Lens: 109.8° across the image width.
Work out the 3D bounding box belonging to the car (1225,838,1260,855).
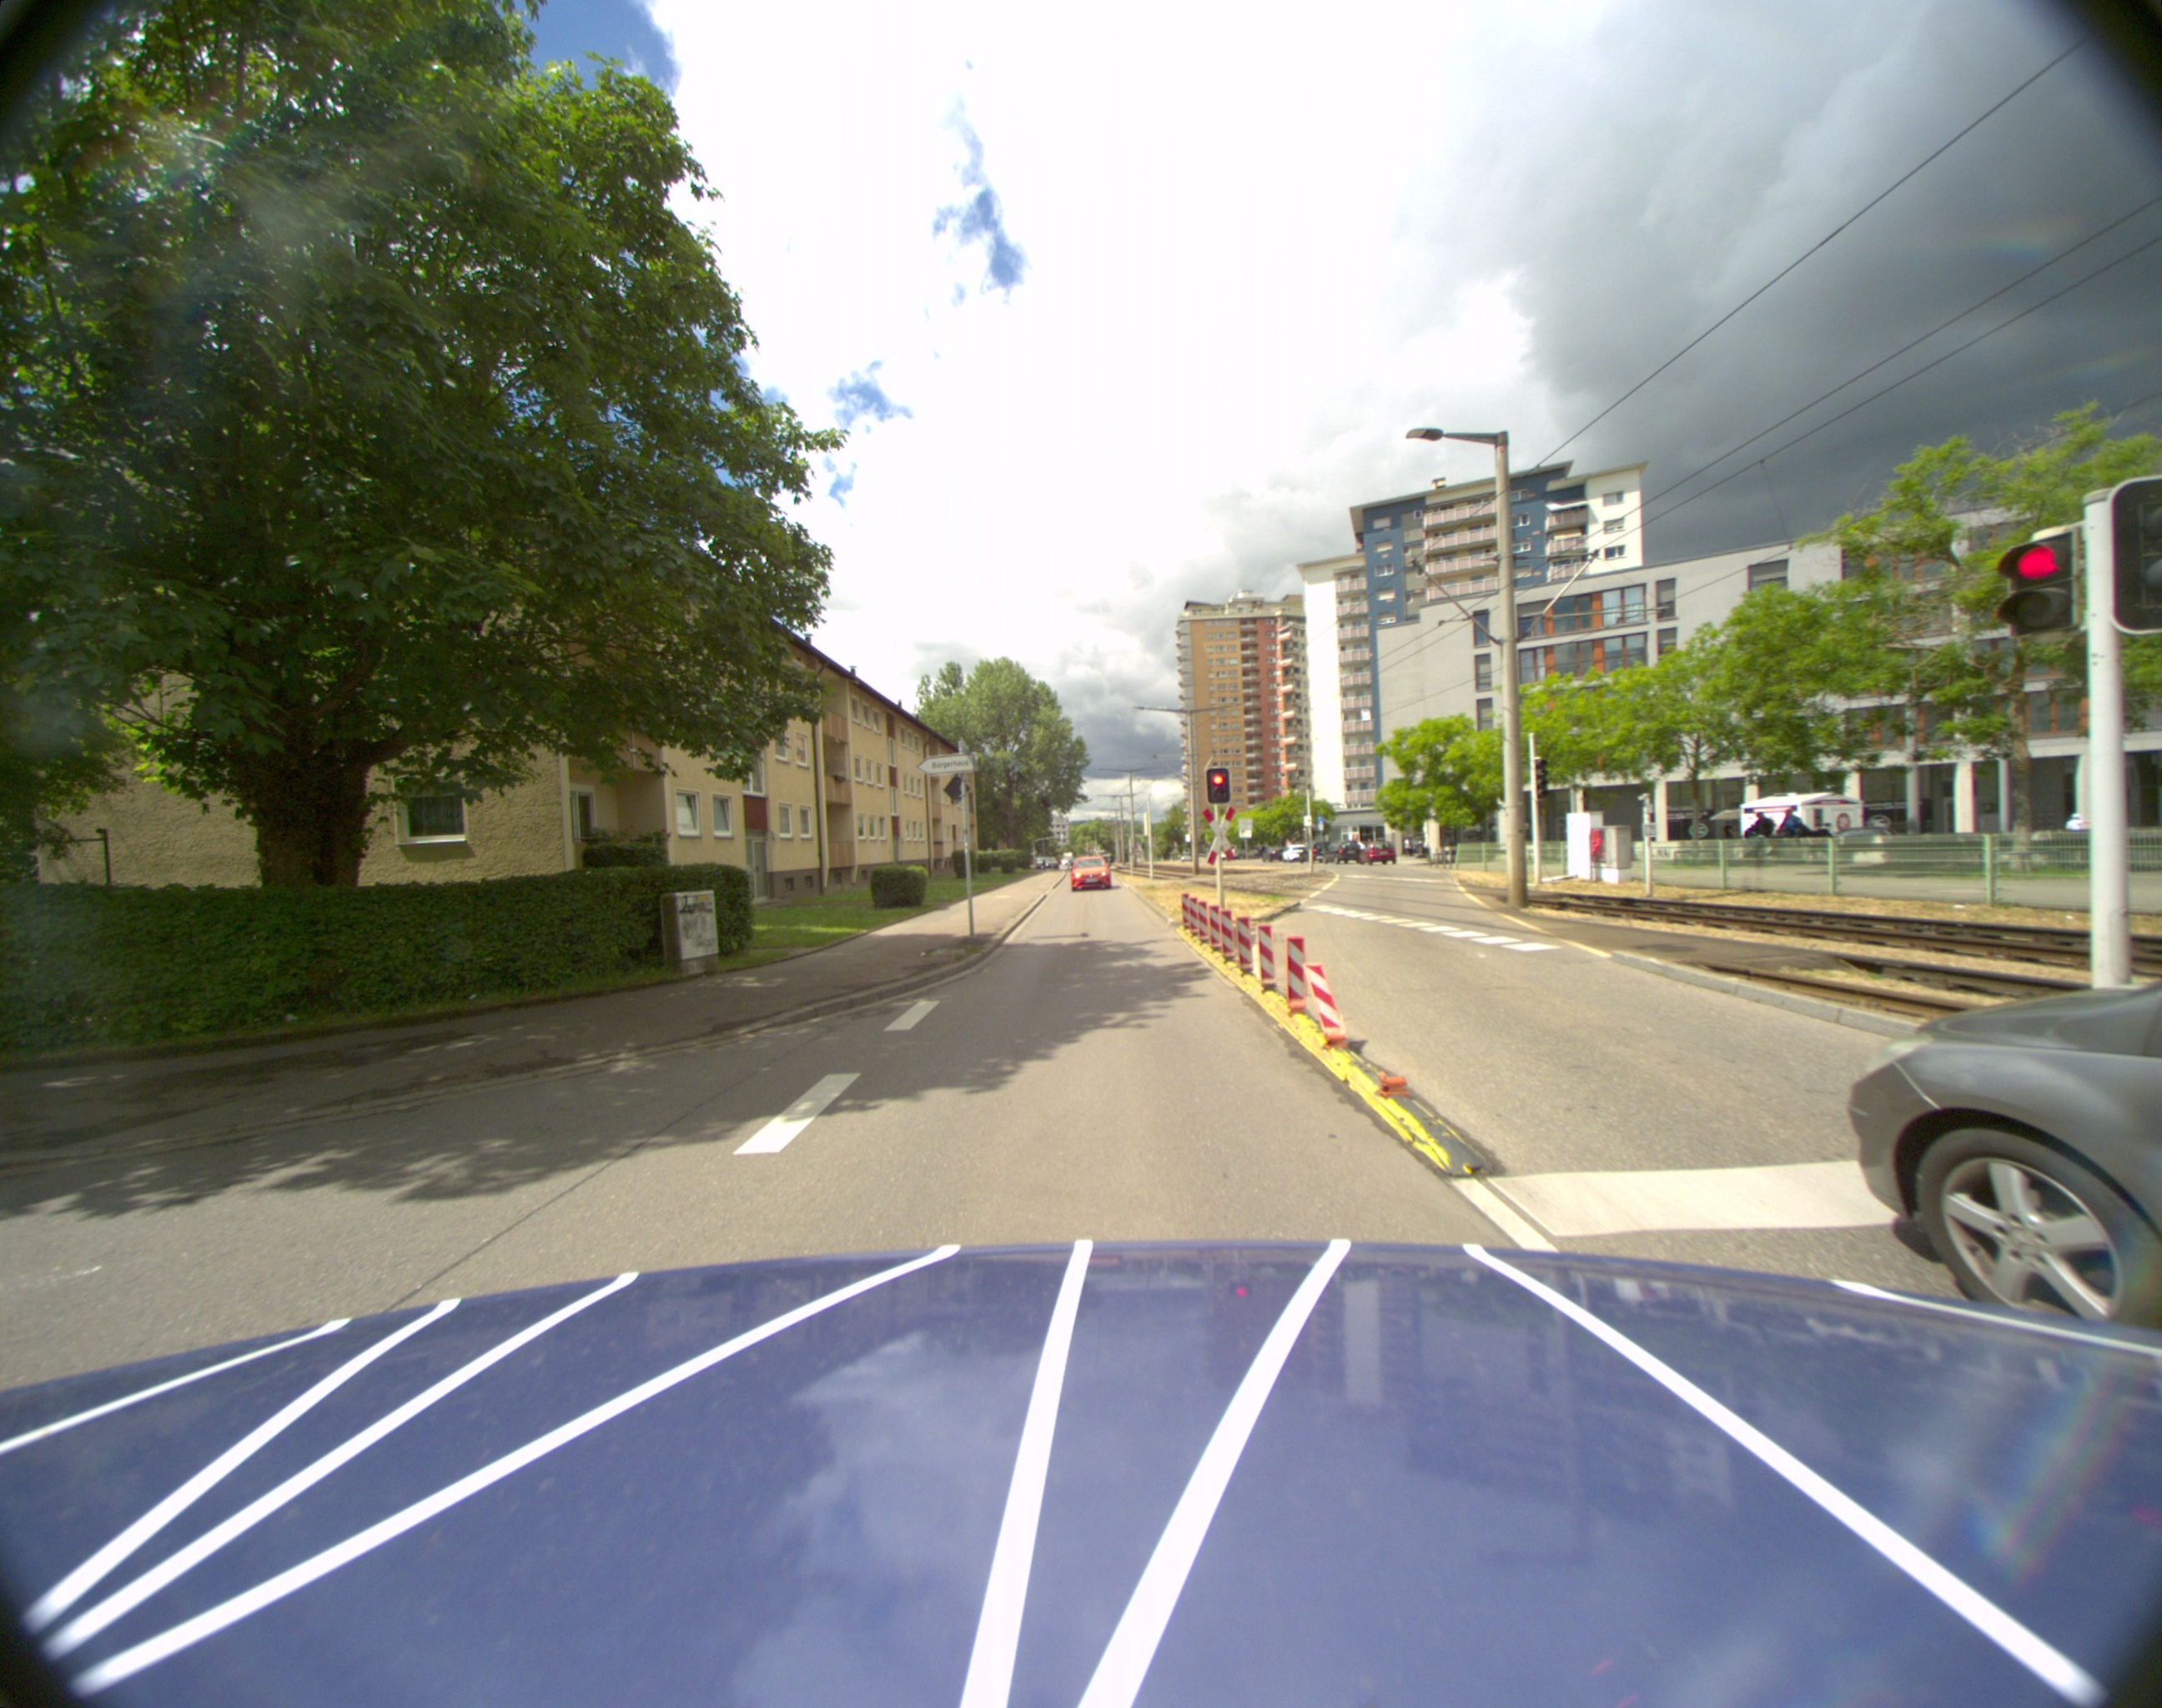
[{"bbox_3d":[20.570,-0.951,96.677,4.504,1.914,1.877,-4,1,-39],"label":"car"}]

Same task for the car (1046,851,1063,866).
[{"bbox_3d":[-3.142,0.552,90.613,1.843,1.648,3.789,-4,0,1],"label":"car"}]

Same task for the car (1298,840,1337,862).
[{"bbox_3d":[18.420,-0.259,59.351,1.781,1.531,3.803,-4,0,1],"label":"car"}]

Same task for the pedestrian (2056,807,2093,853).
[{"bbox_3d":[42.219,-1.031,32.305,0.748,1.895,0.539,-3,1,29],"label":"pedestrian"}]

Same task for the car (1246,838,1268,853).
[{"bbox_3d":[21.323,-1.049,92.279,1.781,1.650,3.803,-4,0,1],"label":"car"}]

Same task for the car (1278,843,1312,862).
[{"bbox_3d":[18.433,-0.139,65.507,1.781,1.531,3.803,-4,0,1],"label":"car"}]

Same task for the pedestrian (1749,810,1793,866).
[{"bbox_3d":[20.953,-0.493,23.076,0.749,1.644,0.538,-4,1,1],"label":"pedestrian"}]

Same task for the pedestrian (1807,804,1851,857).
[{"bbox_3d":[29.212,-0.917,29.677,0.734,2.002,0.910,-4,1,-17],"label":"pedestrian"}]

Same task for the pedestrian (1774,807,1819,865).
[{"bbox_3d":[20.962,-0.529,22.270,0.749,1.644,0.538,-4,1,1],"label":"pedestrian"}]

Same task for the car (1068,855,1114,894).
[{"bbox_3d":[0.509,0.823,32.515,1.791,1.387,4.241,-2,1,3],"label":"car"}]

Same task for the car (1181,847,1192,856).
[{"bbox_3d":[17.994,-0.438,129.601,1.780,1.491,3.805,-4,0,6],"label":"car"}]

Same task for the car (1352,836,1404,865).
[{"bbox_3d":[18.199,-0.208,46.748,1.893,1.613,3.804,-4,0,5],"label":"car"}]

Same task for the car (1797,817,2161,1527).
[{"bbox_3d":[3.380,0.732,0.557,1.861,1.650,4.176,-3,0,3],"label":"car"}]

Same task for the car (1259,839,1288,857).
[{"bbox_3d":[18.275,-0.593,72.297,1.781,1.531,3.803,-4,0,1],"label":"car"}]

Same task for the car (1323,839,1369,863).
[{"bbox_3d":[18.450,-0.215,53.093,1.893,1.531,3.804,-4,0,2],"label":"car"}]
